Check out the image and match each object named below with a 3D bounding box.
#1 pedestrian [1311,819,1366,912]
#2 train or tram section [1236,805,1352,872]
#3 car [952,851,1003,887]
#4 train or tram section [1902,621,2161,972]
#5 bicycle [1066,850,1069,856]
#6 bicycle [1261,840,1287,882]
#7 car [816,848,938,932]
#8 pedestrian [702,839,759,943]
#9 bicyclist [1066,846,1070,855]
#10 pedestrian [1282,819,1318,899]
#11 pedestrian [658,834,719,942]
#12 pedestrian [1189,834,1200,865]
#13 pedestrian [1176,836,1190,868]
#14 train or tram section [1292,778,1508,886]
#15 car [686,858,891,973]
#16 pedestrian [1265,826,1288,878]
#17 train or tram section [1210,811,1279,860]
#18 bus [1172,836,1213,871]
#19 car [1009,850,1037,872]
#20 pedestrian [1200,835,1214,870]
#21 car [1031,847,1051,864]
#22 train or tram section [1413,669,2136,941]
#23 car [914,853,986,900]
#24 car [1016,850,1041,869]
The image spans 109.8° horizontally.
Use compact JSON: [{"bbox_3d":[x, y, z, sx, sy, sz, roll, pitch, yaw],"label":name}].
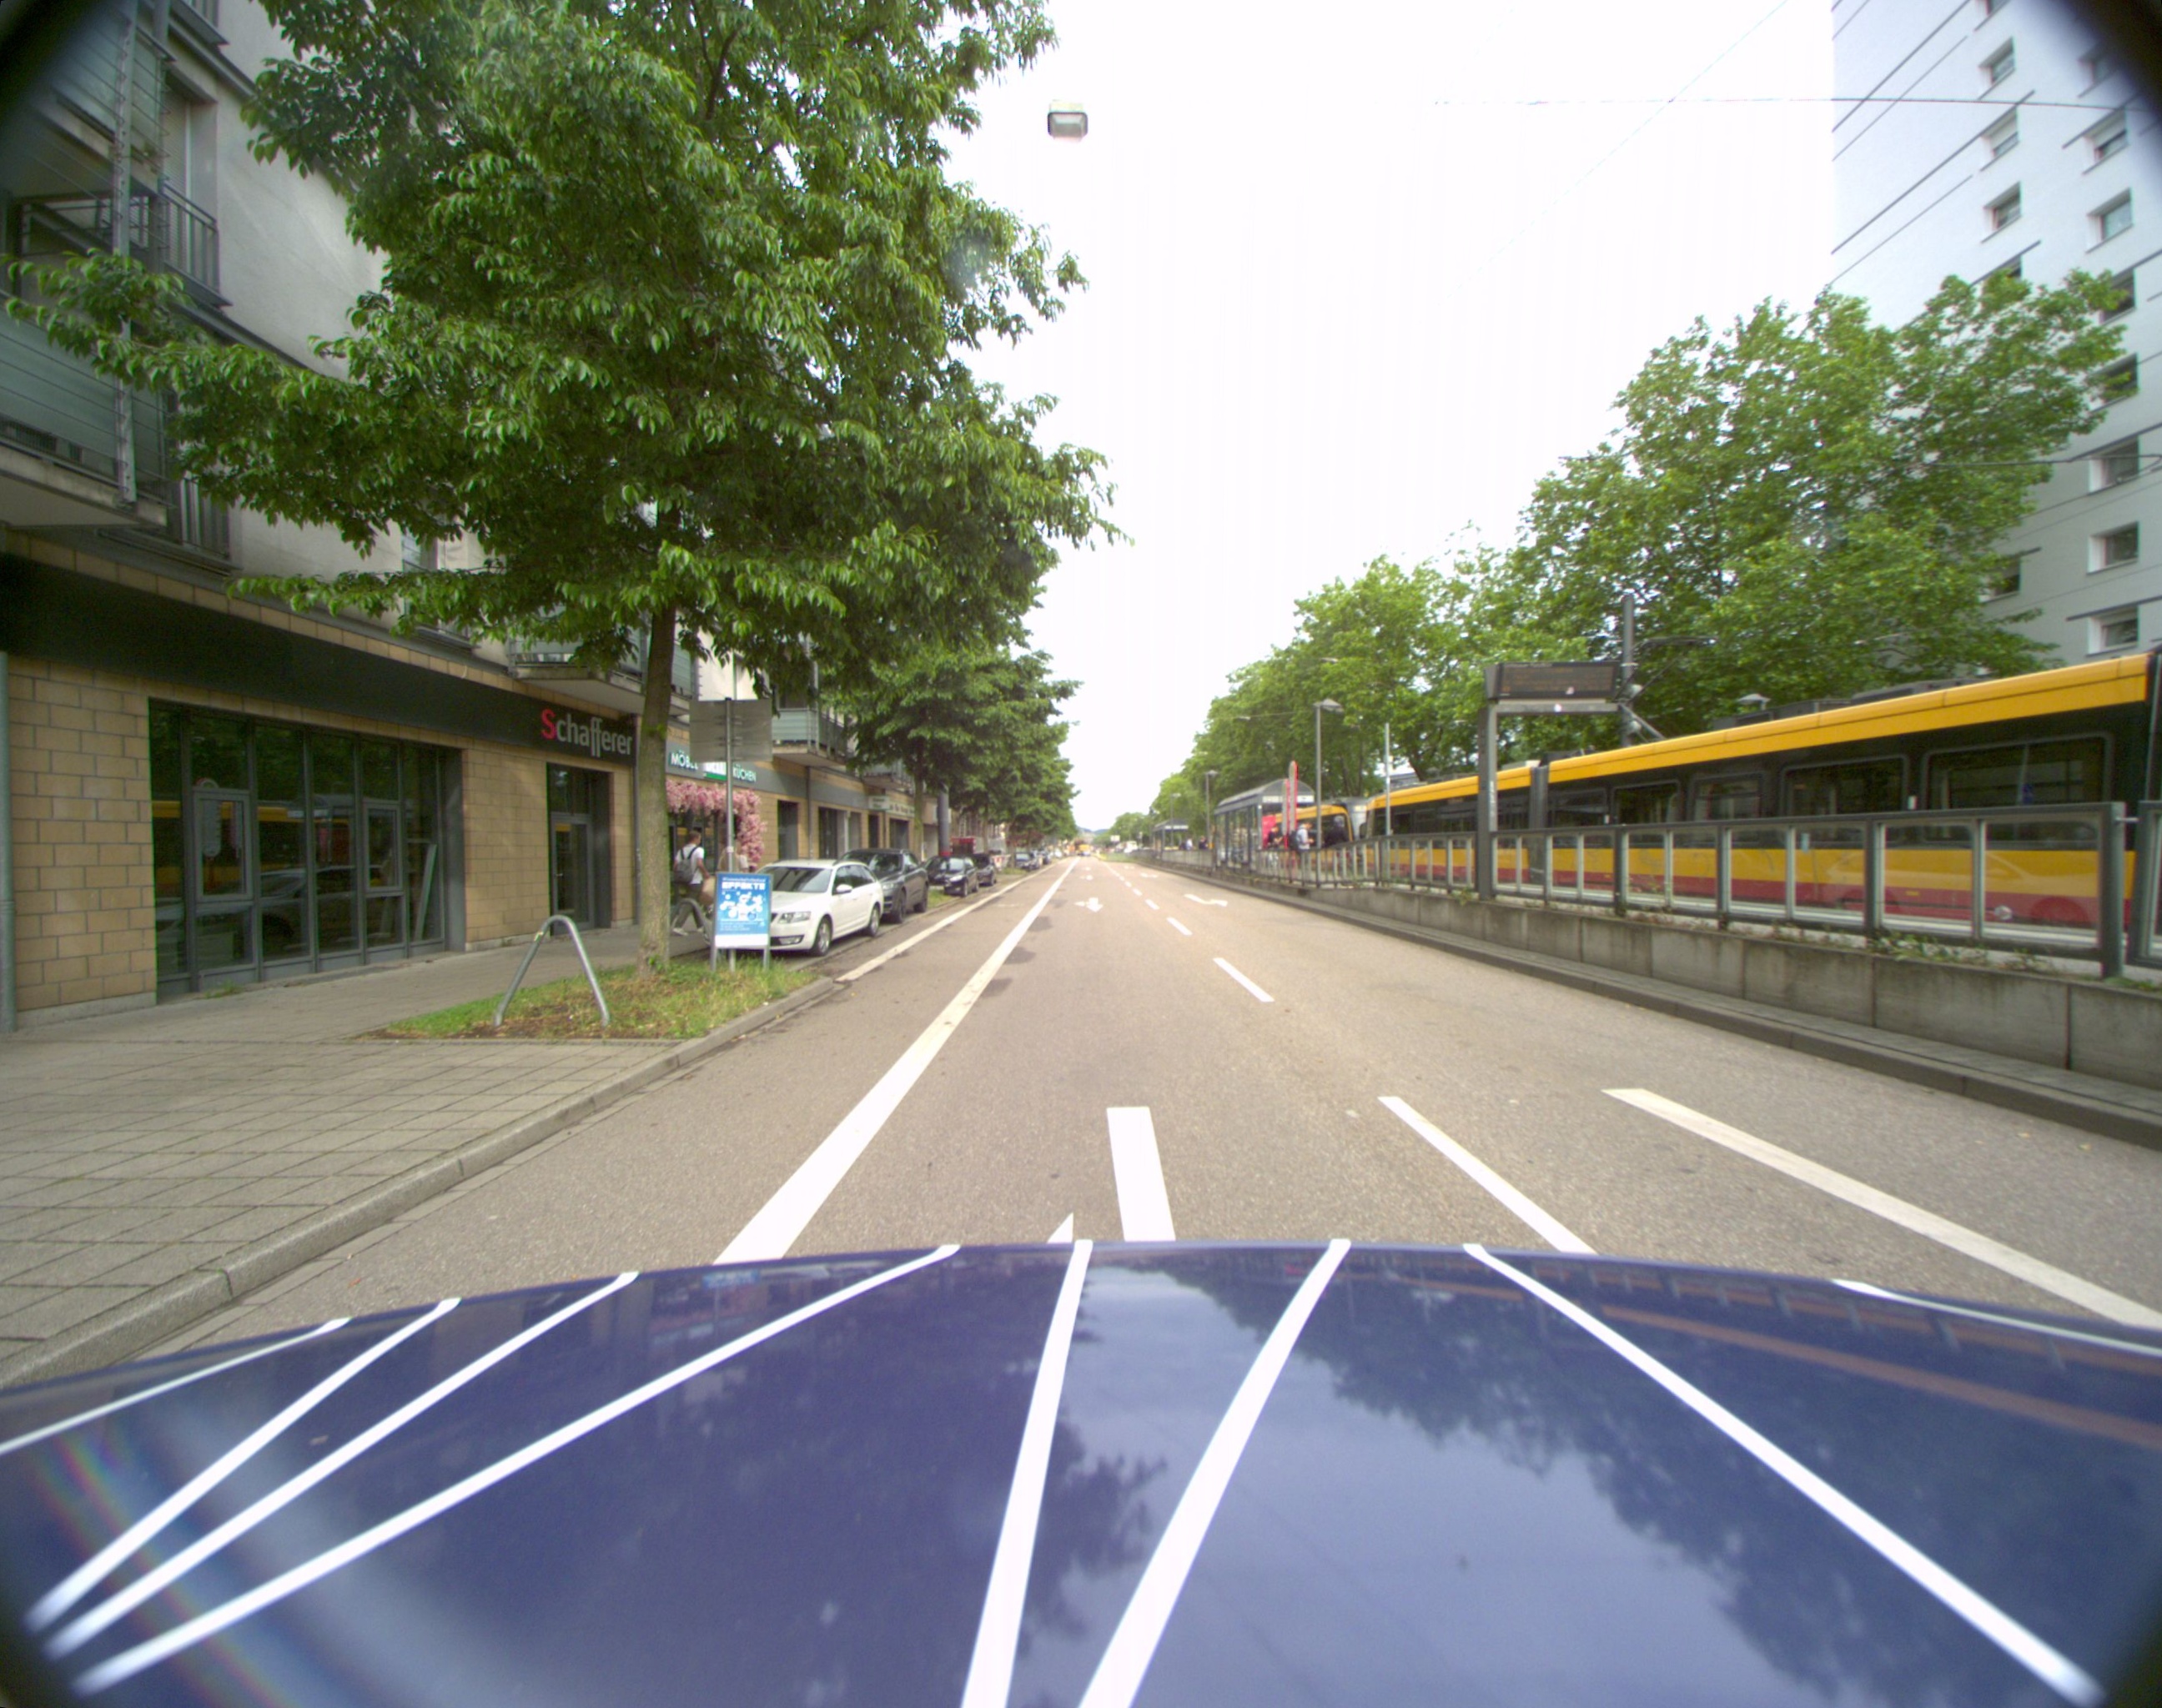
[{"bbox_3d":[5.712,0.240,16.870,0.756,2.002,0.816,-3,2,-36],"label":"pedestrian"},{"bbox_3d":[13.005,-0.956,48.632,3.067,3.511,15.769,-2,1,1],"label":"train or tram section"},{"bbox_3d":[-4.702,0.631,35.090,1.802,1.447,4.387,2,1,-1],"label":"car"},{"bbox_3d":[12.444,-0.547,2.224,3.067,3.568,15.846,-2,1,1],"label":"train or tram section"},{"bbox_3d":[-2.804,-0.193,160.747,0.613,1.116,2.050,-2,1,1],"label":"bicycle"},{"bbox_3d":[5.862,0.193,23.091,0.420,1.215,1.289,-2,1,0],"label":"bicycle"},{"bbox_3d":[-4.749,0.739,18.418,1.716,1.707,4.710,2,1,-1],"label":"car"},{"bbox_3d":[-6.202,0.636,13.482,0.617,1.795,0.737,0,1,2],"label":"pedestrian"},{"bbox_3d":[-2.813,-0.695,160.547,0.751,1.777,0.838,-2,1,1],"label":"bicyclist"},{"bbox_3d":[5.694,0.127,19.732,0.753,2.002,0.819,-2,2,24],"label":"pedestrian"},{"bbox_3d":[-7.002,0.594,13.582,0.676,1.880,0.737,0,1,2],"label":"pedestrian"},{"bbox_3d":[6.151,-0.255,41.301,0.480,1.623,0.392,-2,1,2],"label":"pedestrian"},{"bbox_3d":[6.529,-0.157,48.641,0.676,2.002,0.588,-2,1,-2],"label":"pedestrian"},{"bbox_3d":[12.825,-0.843,33.108,3.067,3.511,15.292,-2,1,1],"label":"train or tram section"},{"bbox_3d":[-4.711,0.888,13.003,1.680,1.490,4.389,2,1,2],"label":"car"},{"bbox_3d":[6.227,-0.064,24.215,0.532,1.623,0.471,-2,1,-2],"label":"pedestrian"},{"bbox_3d":[13.203,-1.471,62.780,3.100,3.541,12.537,-2,1,1],"label":"train or tram section"},{"bbox_3d":[6.946,-0.046,47.751,1.998,2.002,3.999,-2,1,1],"label":"bus"},{"bbox_3d":[-4.294,0.500,56.517,1.755,1.452,4.279,1,1,0],"label":"car"},{"bbox_3d":[6.024,-0.070,36.452,0.513,1.623,0.730,-2,1,2],"label":"pedestrian"},{"bbox_3d":[-4.094,0.142,78.821,1.837,1.720,4.279,1,1,0],"label":"car"},{"bbox_3d":[12.626,-0.763,17.797,3.067,3.511,15.292,-2,1,1],"label":"train or tram section"},{"bbox_3d":[-4.617,0.738,27.371,1.680,1.433,4.407,2,1,2],"label":"car"},{"bbox_3d":[-4.310,0.441,62.706,1.755,1.452,4.279,1,1,0],"label":"car"}]
